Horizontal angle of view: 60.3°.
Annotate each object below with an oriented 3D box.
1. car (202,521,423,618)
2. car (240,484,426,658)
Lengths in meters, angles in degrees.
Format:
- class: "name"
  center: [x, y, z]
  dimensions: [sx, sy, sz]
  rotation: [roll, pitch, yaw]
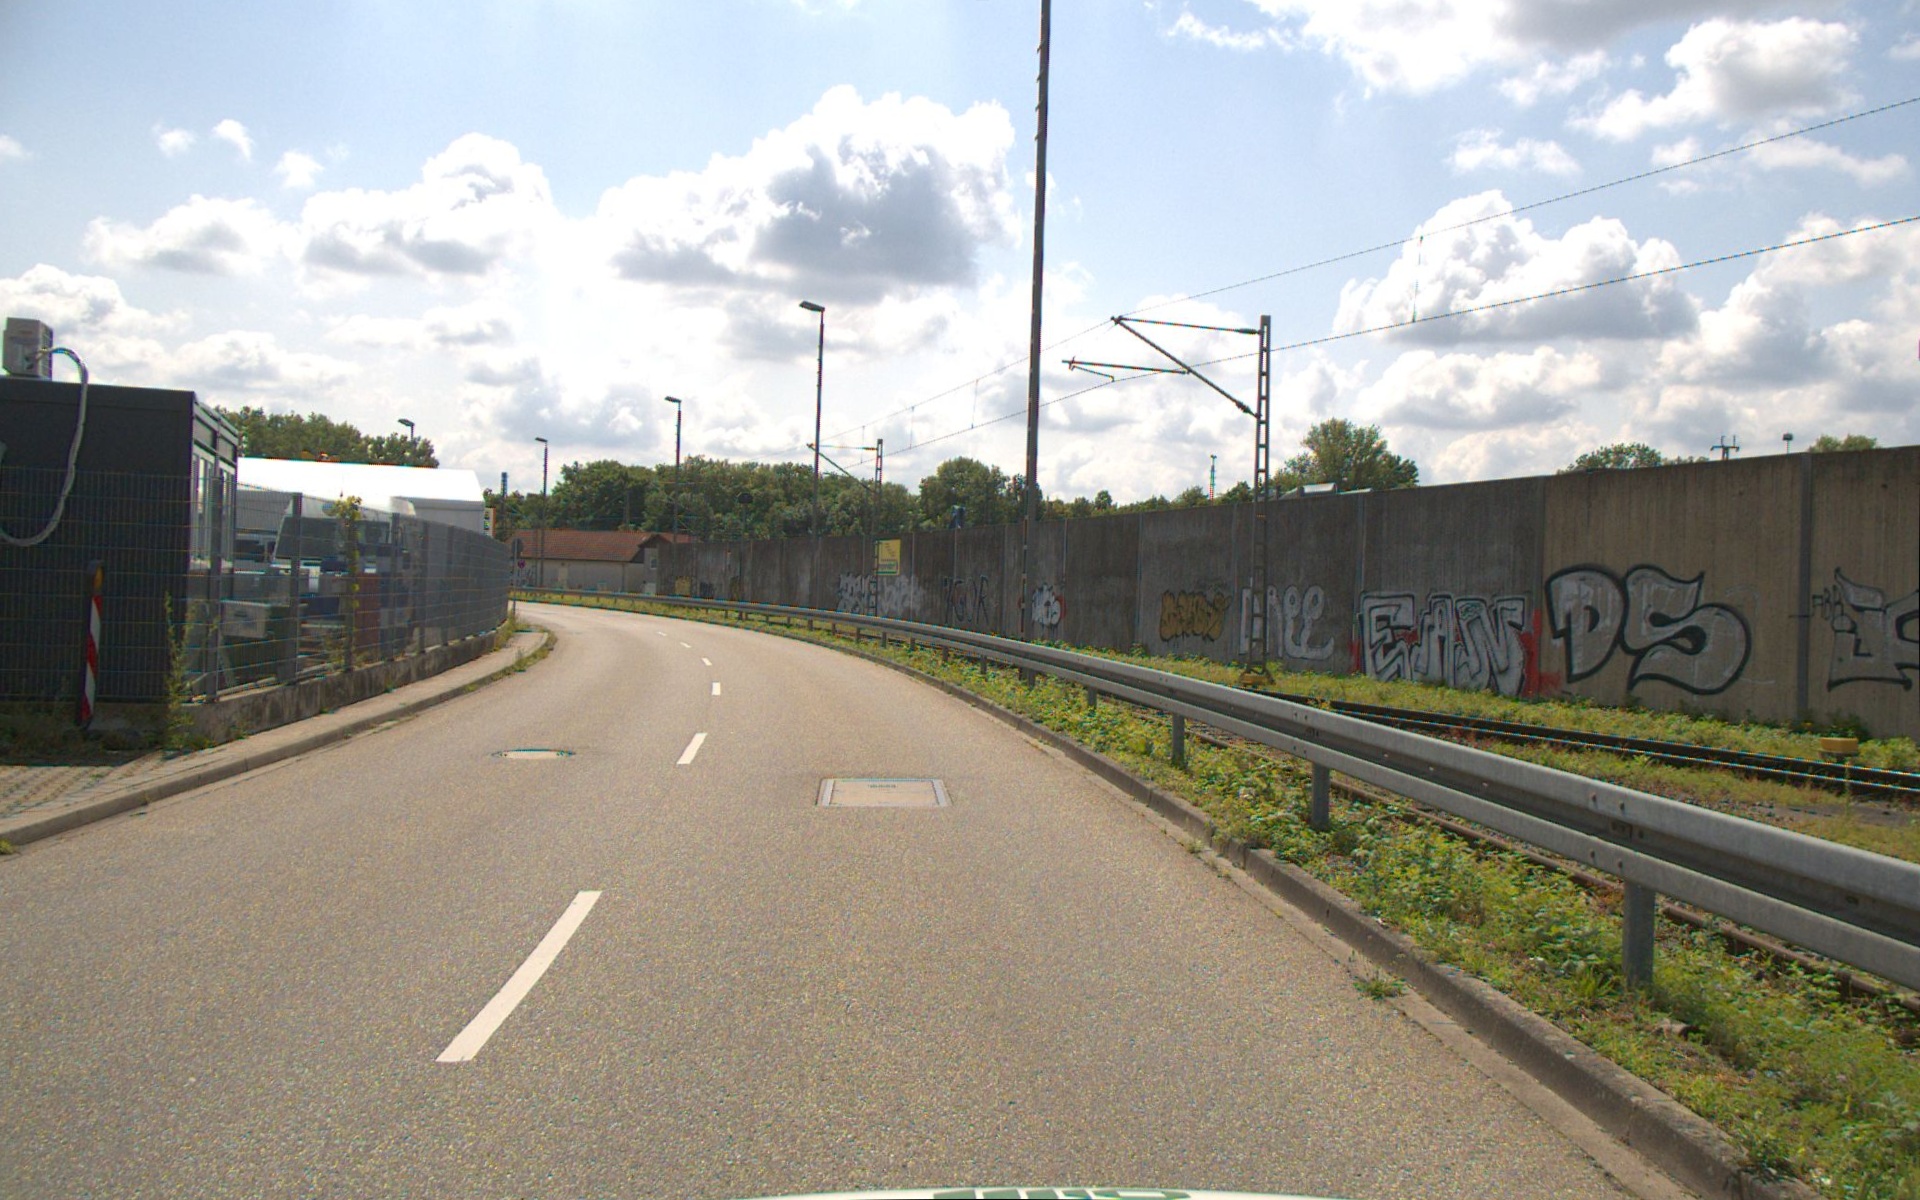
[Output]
- class: "car"
  center: [-14.756, -0.659, 37.709]
  dimensions: [4.503, 2.062, 2.040]
  rotation: [1, 0, -28]
- class: "car"
  center: [-10.527, -0.489, 28.294]
  dimensions: [2.083, 2.581, 6.694]
  rotation: [1, 1, -13]
